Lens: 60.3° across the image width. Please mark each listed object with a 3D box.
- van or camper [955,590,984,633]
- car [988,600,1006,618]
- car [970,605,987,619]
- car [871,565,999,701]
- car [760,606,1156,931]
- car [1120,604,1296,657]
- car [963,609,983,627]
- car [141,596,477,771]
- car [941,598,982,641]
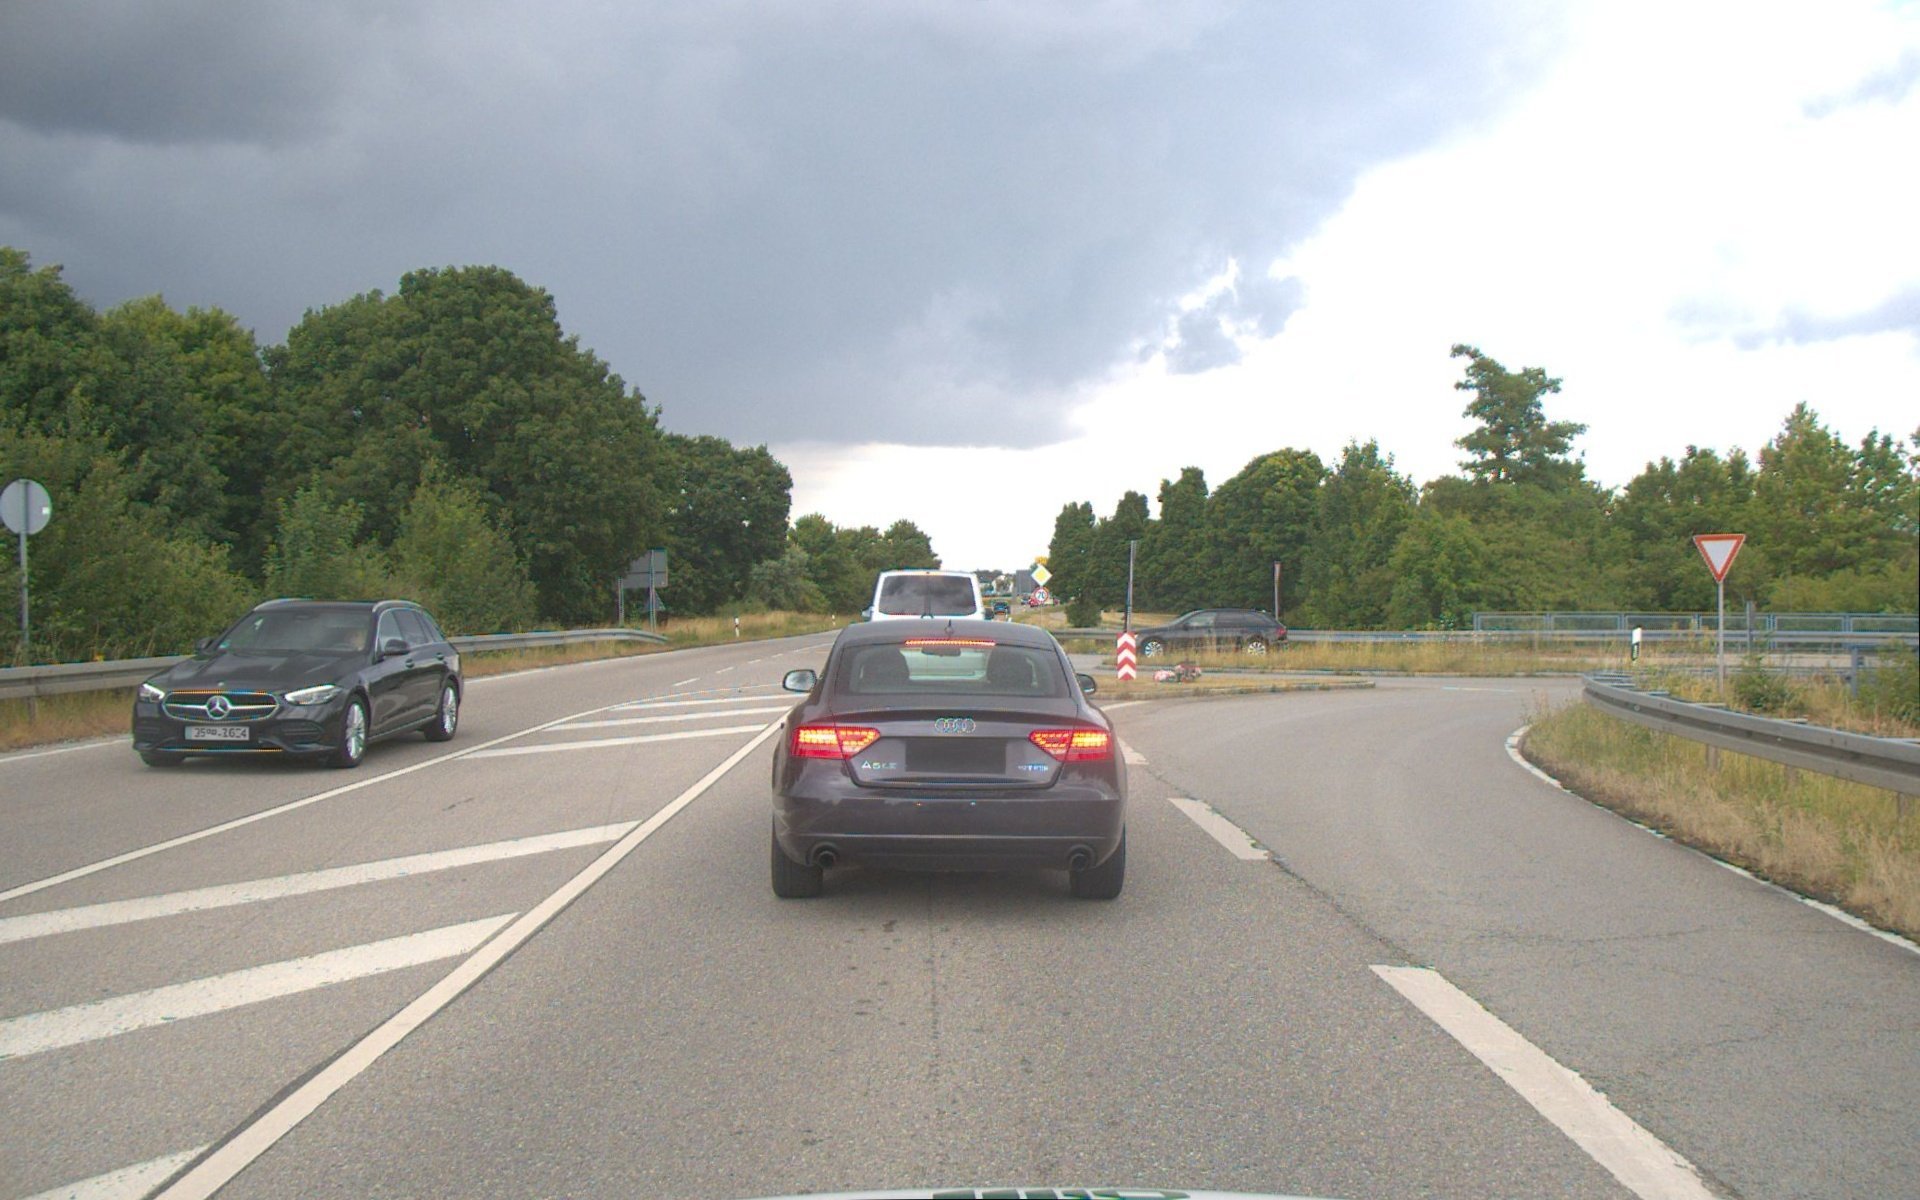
[{"bbox_3d":[0.838,0.968,140.418,2.292,3.542,5.719,0,0,1],"label":"van or camper"},{"bbox_3d":[4.388,1.038,197.690,1.953,2.049,3.999,2,0,-1],"label":"car"},{"bbox_3d":[1.921,1.222,169.386,1.683,1.477,4.000,1,0,0],"label":"car"},{"bbox_3d":[-0.382,0.471,25.655,1.801,1.915,3.999,1,0,-1],"label":"car"},{"bbox_3d":[-0.035,0.759,9.359,1.746,1.400,3.999,1,0,-1],"label":"car"},{"bbox_3d":[6.705,0.822,44.988,4.502,1.398,1.826,0,0,-1],"label":"car"},{"bbox_3d":[1.009,1.349,124.596,1.231,1.377,3.468,0,0,5],"label":"car"},{"bbox_3d":[-6.040,0.691,15.903,1.637,1.454,4.256,0,0,-2],"label":"car"},{"bbox_3d":[0.106,0.962,83.920,1.952,2.125,4.001,0,0,2],"label":"car"}]
